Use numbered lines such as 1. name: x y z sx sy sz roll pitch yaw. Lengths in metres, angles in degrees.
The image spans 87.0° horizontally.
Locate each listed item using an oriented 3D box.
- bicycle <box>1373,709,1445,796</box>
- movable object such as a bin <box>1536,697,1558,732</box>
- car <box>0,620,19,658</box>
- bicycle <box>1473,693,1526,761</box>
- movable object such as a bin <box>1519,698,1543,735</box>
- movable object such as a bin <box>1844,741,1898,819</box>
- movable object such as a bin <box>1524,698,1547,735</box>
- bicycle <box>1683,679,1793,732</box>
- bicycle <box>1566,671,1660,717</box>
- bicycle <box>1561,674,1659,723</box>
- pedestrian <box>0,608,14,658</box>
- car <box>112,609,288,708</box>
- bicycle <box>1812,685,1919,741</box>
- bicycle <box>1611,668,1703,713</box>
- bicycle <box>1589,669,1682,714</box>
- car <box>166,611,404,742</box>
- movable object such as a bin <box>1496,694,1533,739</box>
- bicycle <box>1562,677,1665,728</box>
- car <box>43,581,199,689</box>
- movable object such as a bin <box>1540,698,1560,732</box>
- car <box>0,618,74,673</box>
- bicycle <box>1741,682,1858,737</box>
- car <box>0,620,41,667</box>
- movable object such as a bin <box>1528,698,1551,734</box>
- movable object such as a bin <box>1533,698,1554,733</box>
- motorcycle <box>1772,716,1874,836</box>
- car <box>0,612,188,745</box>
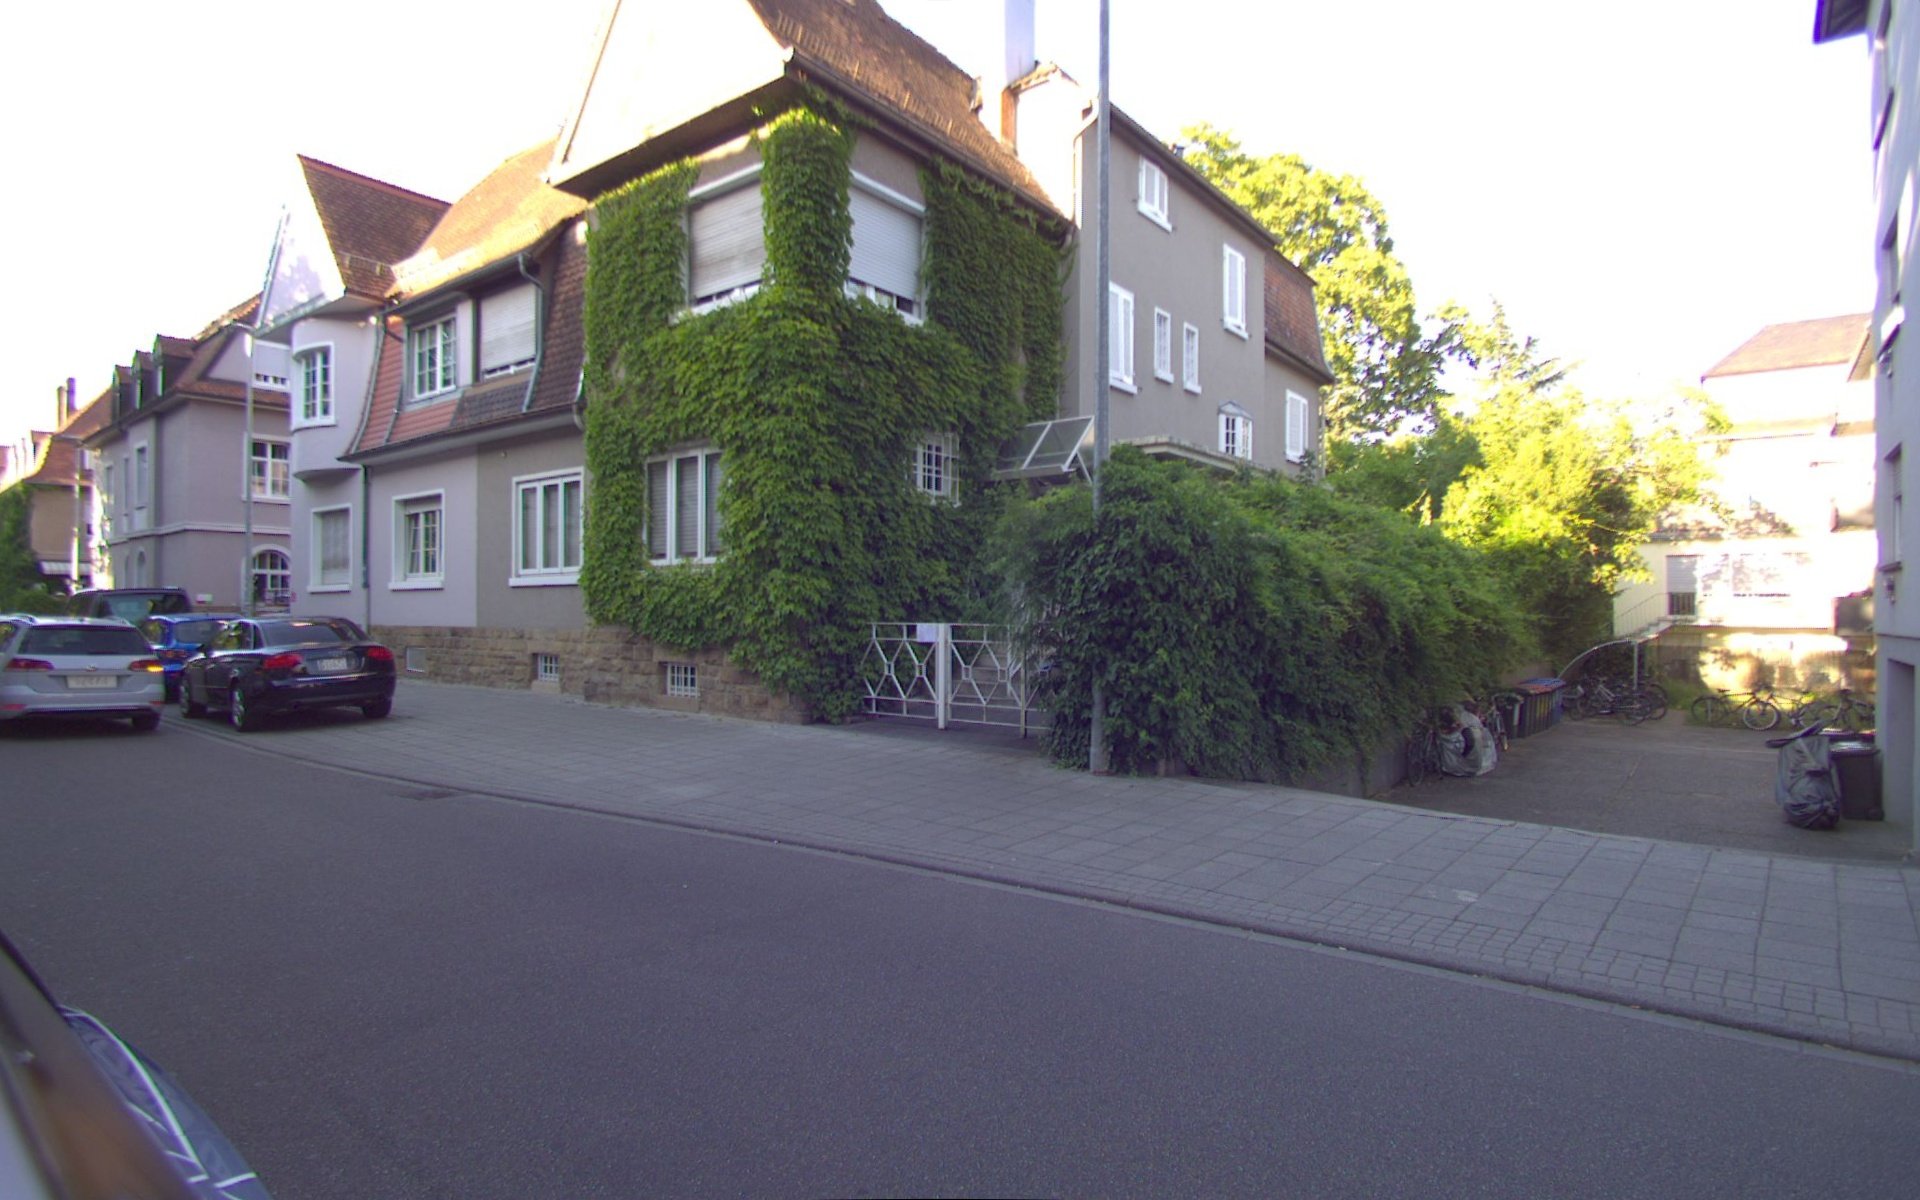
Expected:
1. bicycle: 6.753 2.241 15.170 0.514 1.027 1.914 1 0 38
2. movable object such as a bin: 13.543 2.641 23.345 0.367 0.764 0.359 -1 -4 41
3. car: -36.521 1.459 37.676 3.942 1.381 1.698 -1 0 40
4. bicycle: 9.964 2.313 18.663 0.514 1.027 1.914 1 0 38
5. movable object such as a bin: 12.508 2.551 22.151 0.398 0.779 0.359 -1 -4 41
6. movable object such as a bin: 11.768 2.309 13.089 0.432 0.894 0.717 -1 -3 37
7. movable object such as a bin: 12.778 2.581 22.454 0.381 0.779 0.359 -1 -4 41
8. bicycle: 18.723 2.512 24.382 2.068 1.028 0.634 1 3 41
9. bicycle: 17.707 2.526 27.462 2.068 1.028 0.608 1 3 41
10. bicycle: 16.846 2.536 26.260 2.068 1.028 0.565 1 3 41
11. pedestrian: -39.381 1.346 41.168 0.931 2.029 1.172 -2 -4 45
12. car: -13.550 0.946 17.964 4.021 1.475 1.591 0 2 40
13. bicycle: 20.551 2.543 22.783 2.068 1.028 0.634 1 3 41
14. bicycle: 19.426 2.504 28.232 2.068 1.028 0.561 1 3 41
15. bicycle: 18.624 2.514 27.928 2.068 1.028 0.608 1 3 41
16. car: -9.336 0.925 13.877 4.023 1.439 1.729 0 2 42
17. movable object such as a bin: 11.551 2.419 21.086 0.576 0.886 0.488 0 -3 41
18. bicycle: 16.281 2.543 25.248 2.068 1.028 0.634 1 3 41
19. car: -17.522 0.663 21.074 4.308 1.987 1.698 0 2 40
20. movable object such as a bin: 13.793 2.673 23.651 0.346 0.764 0.359 -1 -4 41
21. car: -26.446 1.242 28.431 4.331 1.381 1.698 -1 0 40
22. bicycle: 19.582 2.525 23.644 2.068 1.028 0.634 1 3 41
23. car: -30.359 1.346 31.914 3.942 1.381 1.522 -1 0 40
24. movable object such as a bin: 13.029 2.607 22.755 0.375 0.764 0.359 -1 -4 41
25. movable object such as a bin: 13.292 2.626 23.048 0.367 0.764 0.359 -1 -4 41
26. motorcycle: 10.719 2.141 12.623 0.757 1.261 1.575 -1 -3 34
27. car: -11.848 0.956 13.158 4.293 1.473 1.764 -2 -4 37
